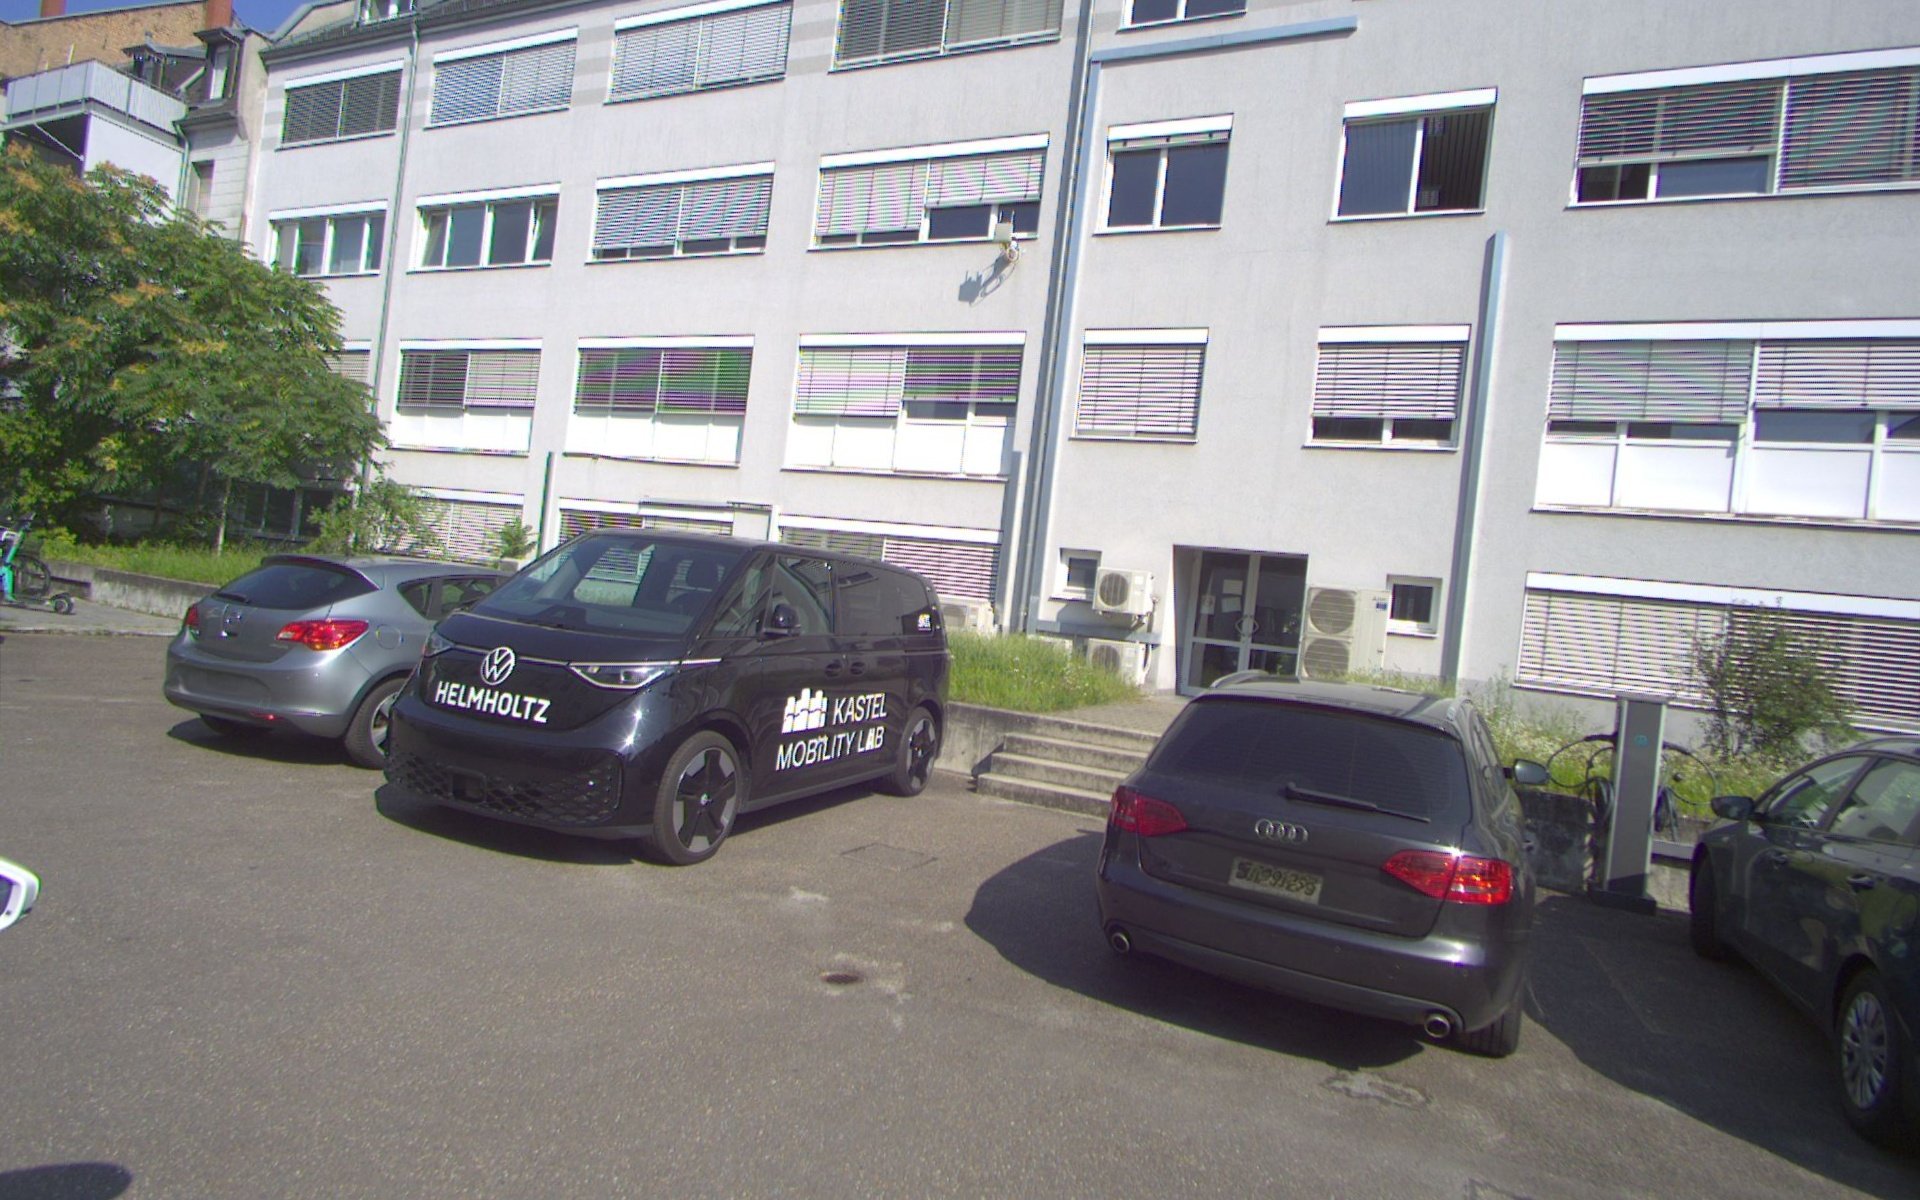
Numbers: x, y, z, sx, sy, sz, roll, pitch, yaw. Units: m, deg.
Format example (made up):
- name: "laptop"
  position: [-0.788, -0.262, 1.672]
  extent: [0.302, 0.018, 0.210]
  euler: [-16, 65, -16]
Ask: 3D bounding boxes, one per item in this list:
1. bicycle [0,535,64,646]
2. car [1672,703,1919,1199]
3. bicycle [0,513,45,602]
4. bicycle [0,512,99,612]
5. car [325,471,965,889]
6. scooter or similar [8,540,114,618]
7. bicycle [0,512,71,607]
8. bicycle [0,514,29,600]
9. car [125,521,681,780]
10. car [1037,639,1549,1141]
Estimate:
- name: "bicycle"
  position: [-11.183, -0.199, 11.042]
  extent: [1.960, 1.158, 0.489]
  euler: [7, 1, -10]
- name: "car"
  position: [4.623, 1.360, 4.354]
  extent: [1.711, 1.495, 4.057]
  euler: [7, -1, 26]
- name: "bicycle"
  position: [-14.620, -0.732, 14.164]
  extent: [0.517, 1.260, 2.416]
  euler: [7, -2, 30]
- name: "bicycle"
  position: [-13.308, -0.593, 13.583]
  extent: [0.517, 1.260, 2.416]
  euler: [7, -2, 30]
- name: "car"
  position: [-1.706, 0.471, 7.149]
  extent: [1.879, 1.881, 4.349]
  euler: [7, -1, 21]
- name: "scooter or similar"
  position: [-12.429, -0.279, 13.922]
  extent: [0.982, 0.935, 0.360]
  euler: [7, -1, -7]
- name: "bicycle"
  position: [-13.916, -0.665, 13.820]
  extent: [0.517, 1.260, 2.416]
  euler: [7, -2, 30]
- name: "bicycle"
  position: [-15.137, -0.775, 14.478]
  extent: [0.517, 1.260, 2.416]
  euler: [7, -2, 30]
- name: "car"
  position: [-4.209, 0.407, 8.408]
  extent: [1.631, 1.483, 3.911]
  euler: [7, -1, 17]
- name: "car"
  position: [2.124, 1.124, 5.551]
  extent: [1.661, 1.455, 4.241]
  euler: [7, -1, 29]
